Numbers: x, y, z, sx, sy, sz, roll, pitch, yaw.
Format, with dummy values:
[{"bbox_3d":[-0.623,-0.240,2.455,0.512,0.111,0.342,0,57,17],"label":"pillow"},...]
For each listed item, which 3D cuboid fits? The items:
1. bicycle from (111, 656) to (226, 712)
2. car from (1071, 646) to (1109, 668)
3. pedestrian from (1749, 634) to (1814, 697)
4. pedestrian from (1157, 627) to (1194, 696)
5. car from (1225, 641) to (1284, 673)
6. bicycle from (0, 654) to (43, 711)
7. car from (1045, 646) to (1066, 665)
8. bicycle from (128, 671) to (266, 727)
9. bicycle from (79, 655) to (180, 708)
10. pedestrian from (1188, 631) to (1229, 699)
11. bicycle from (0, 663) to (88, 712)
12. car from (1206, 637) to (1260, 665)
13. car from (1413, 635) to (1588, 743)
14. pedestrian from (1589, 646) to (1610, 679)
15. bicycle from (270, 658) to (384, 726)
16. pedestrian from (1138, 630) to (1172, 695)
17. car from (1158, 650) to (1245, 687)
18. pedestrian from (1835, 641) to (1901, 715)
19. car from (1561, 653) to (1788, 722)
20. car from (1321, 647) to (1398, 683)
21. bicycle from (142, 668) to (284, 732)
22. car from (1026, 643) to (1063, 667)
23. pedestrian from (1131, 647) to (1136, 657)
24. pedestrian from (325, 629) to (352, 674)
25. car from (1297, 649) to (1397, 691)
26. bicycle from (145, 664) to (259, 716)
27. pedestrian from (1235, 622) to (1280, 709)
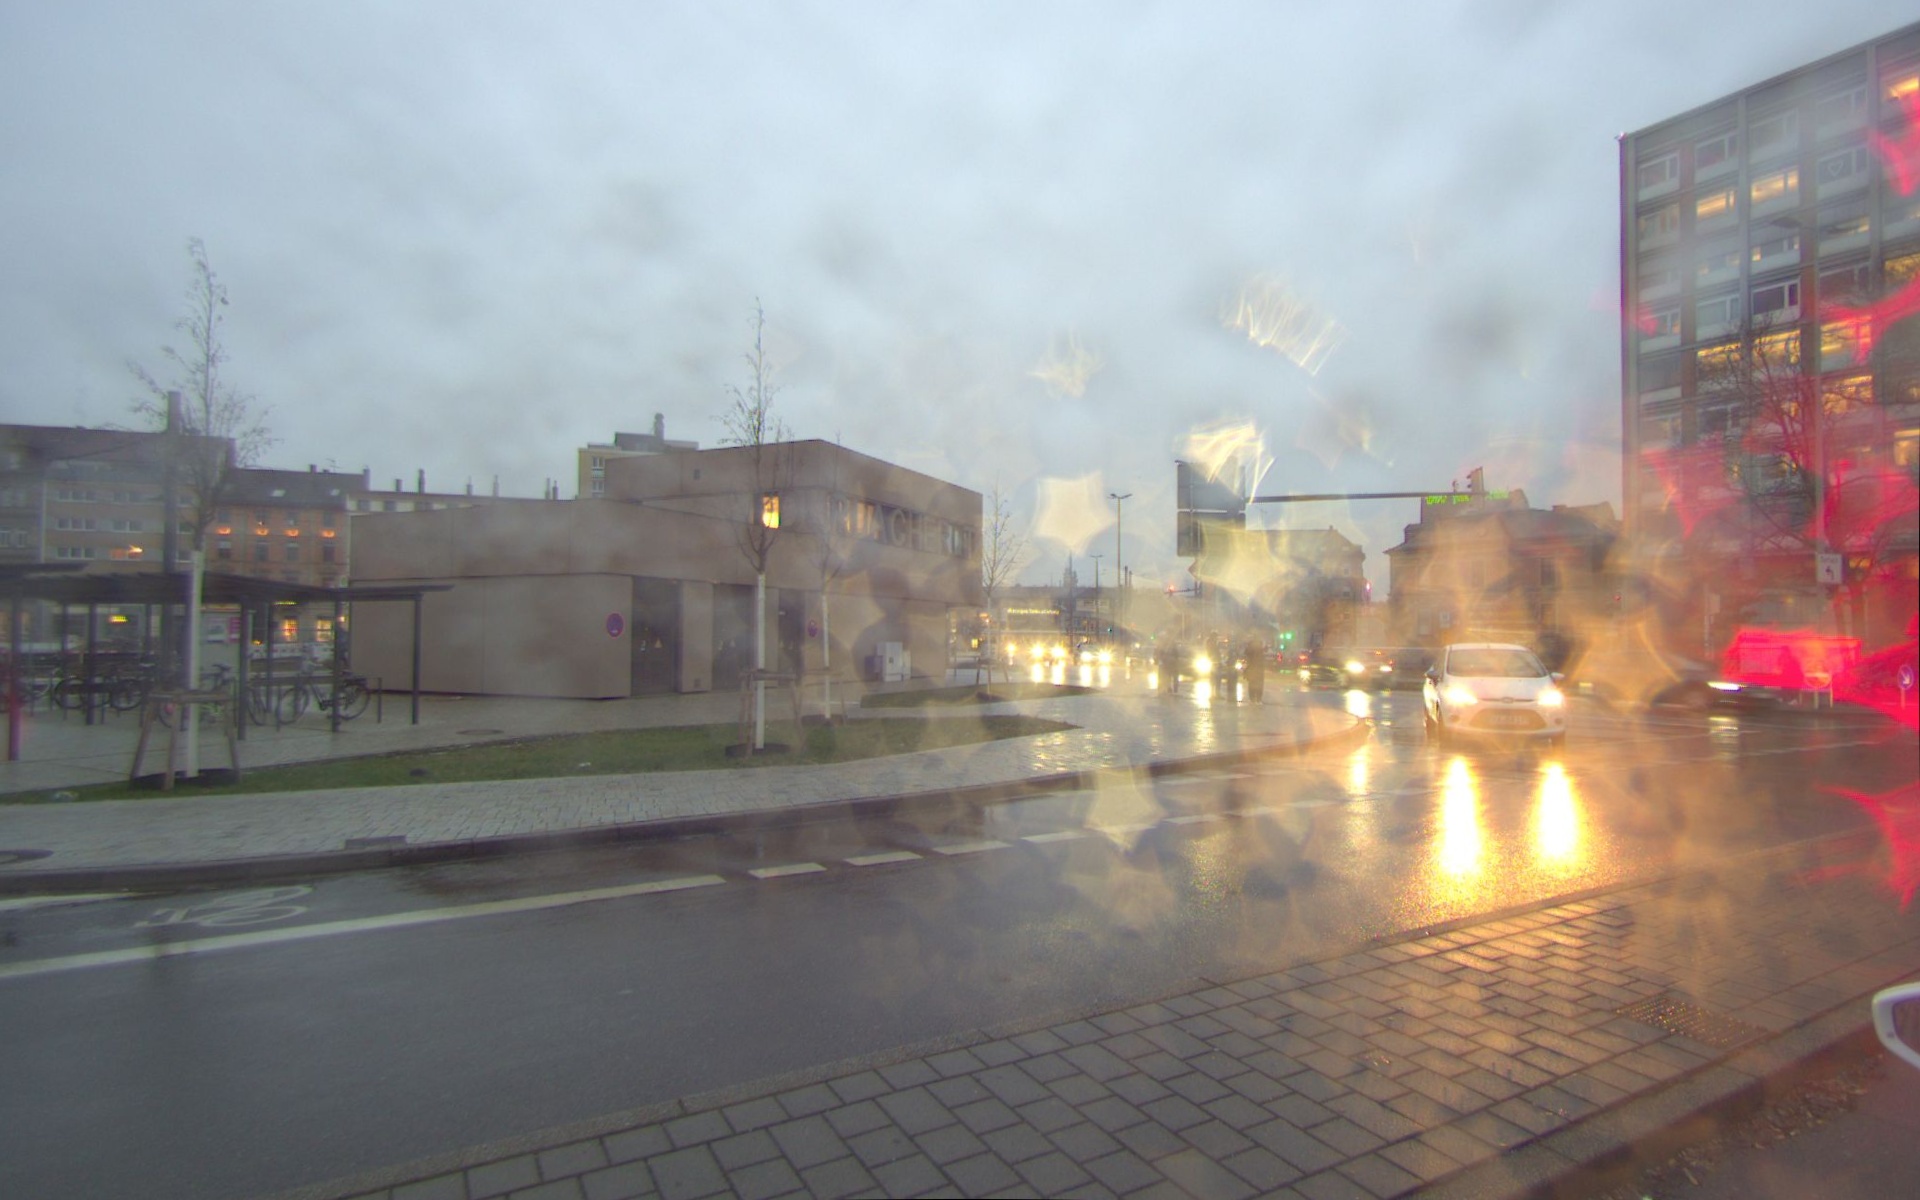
[{"bbox_3d":[-16.532,1.740,21.040,0.466,1.087,1.830,1,-2,26],"label":"bicycle"},{"bbox_3d":[9.359,4.097,72.728,1.776,1.496,4.670,1,-3,-4],"label":"car"},{"bbox_3d":[25.644,2.032,31.367,1.118,1.867,1.004,-2,-2,-7],"label":"pedestrian"},{"bbox_3d":[5.924,1.685,27.656,0.671,1.863,0.726,1,-3,-42],"label":"pedestrian"},{"bbox_3d":[16.860,3.236,57.620,1.793,1.589,3.995,2,0,-7],"label":"car"},{"bbox_3d":[-19.396,1.636,19.840,0.466,1.122,1.797,1,-2,29],"label":"bicycle"},{"bbox_3d":[8.759,5.085,92.543,1.688,1.616,3.792,-1,-2,2],"label":"car"},{"bbox_3d":[-13.588,1.741,17.952,0.466,0.903,1.923,1,-2,29],"label":"bicycle"},{"bbox_3d":[-17.688,1.714,21.434,0.511,1.050,1.573,1,-2,19],"label":"bicycle"},{"bbox_3d":[6.586,1.709,26.628,0.838,1.778,0.659,0,-2,-14],"label":"pedestrian"},{"bbox_3d":[-18.510,1.737,19.991,0.466,0.903,1.693,1,-2,24],"label":"bicycle"},{"bbox_3d":[19.619,3.659,72.354,3.514,1.850,1.672,2,0,8],"label":"car"},{"bbox_3d":[8.241,1.358,15.646,1.711,1.467,3.716,-2,-4,18],"label":"car"},{"bbox_3d":[33.504,3.262,52.608,0.626,1.710,0.640,0,-2,-13],"label":"pedestrian"},{"bbox_3d":[-11.752,1.679,18.720,0.605,1.172,1.755,1,-2,20],"label":"bicycle"},{"bbox_3d":[5.463,1.744,28.175,0.544,1.793,0.734,1,-3,-43],"label":"pedestrian"},{"bbox_3d":[10.401,2.934,43.633,1.780,1.496,4.582,1,-3,-13],"label":"car"},{"bbox_3d":[25.225,2.156,27.925,0.942,2.004,0.929,0,-2,-8],"label":"pedestrian"},{"bbox_3d":[17.621,2.108,25.089,1.780,1.496,4.581,1,-3,-14],"label":"car"},{"bbox_3d":[20.509,3.315,51.747,1.795,1.589,3.991,2,0,-11],"label":"car"},{"bbox_3d":[-12.937,1.707,17.460,0.466,0.989,1.923,1,-2,29],"label":"bicycle"},{"bbox_3d":[5.996,3.920,71.863,1.742,1.598,3.995,0,-2,-8],"label":"car"},{"bbox_3d":[33.923,10.169,196.079,0.960,2.040,0.920,-1,-2,11],"label":"pedestrian"},{"bbox_3d":[-23.507,1.948,37.993,0.519,1.688,0.699,-2,-2,31],"label":"pedestrian"},{"bbox_3d":[14.616,2.623,38.147,1.779,1.497,3.962,1,-3,-10],"label":"car"},{"bbox_3d":[-15.182,1.782,20.175,0.466,0.968,1.767,1,-2,29],"label":"bicycle"},{"bbox_3d":[7.221,1.582,24.376,0.971,2.047,0.802,-1,-2,19],"label":"pedestrian"}]
